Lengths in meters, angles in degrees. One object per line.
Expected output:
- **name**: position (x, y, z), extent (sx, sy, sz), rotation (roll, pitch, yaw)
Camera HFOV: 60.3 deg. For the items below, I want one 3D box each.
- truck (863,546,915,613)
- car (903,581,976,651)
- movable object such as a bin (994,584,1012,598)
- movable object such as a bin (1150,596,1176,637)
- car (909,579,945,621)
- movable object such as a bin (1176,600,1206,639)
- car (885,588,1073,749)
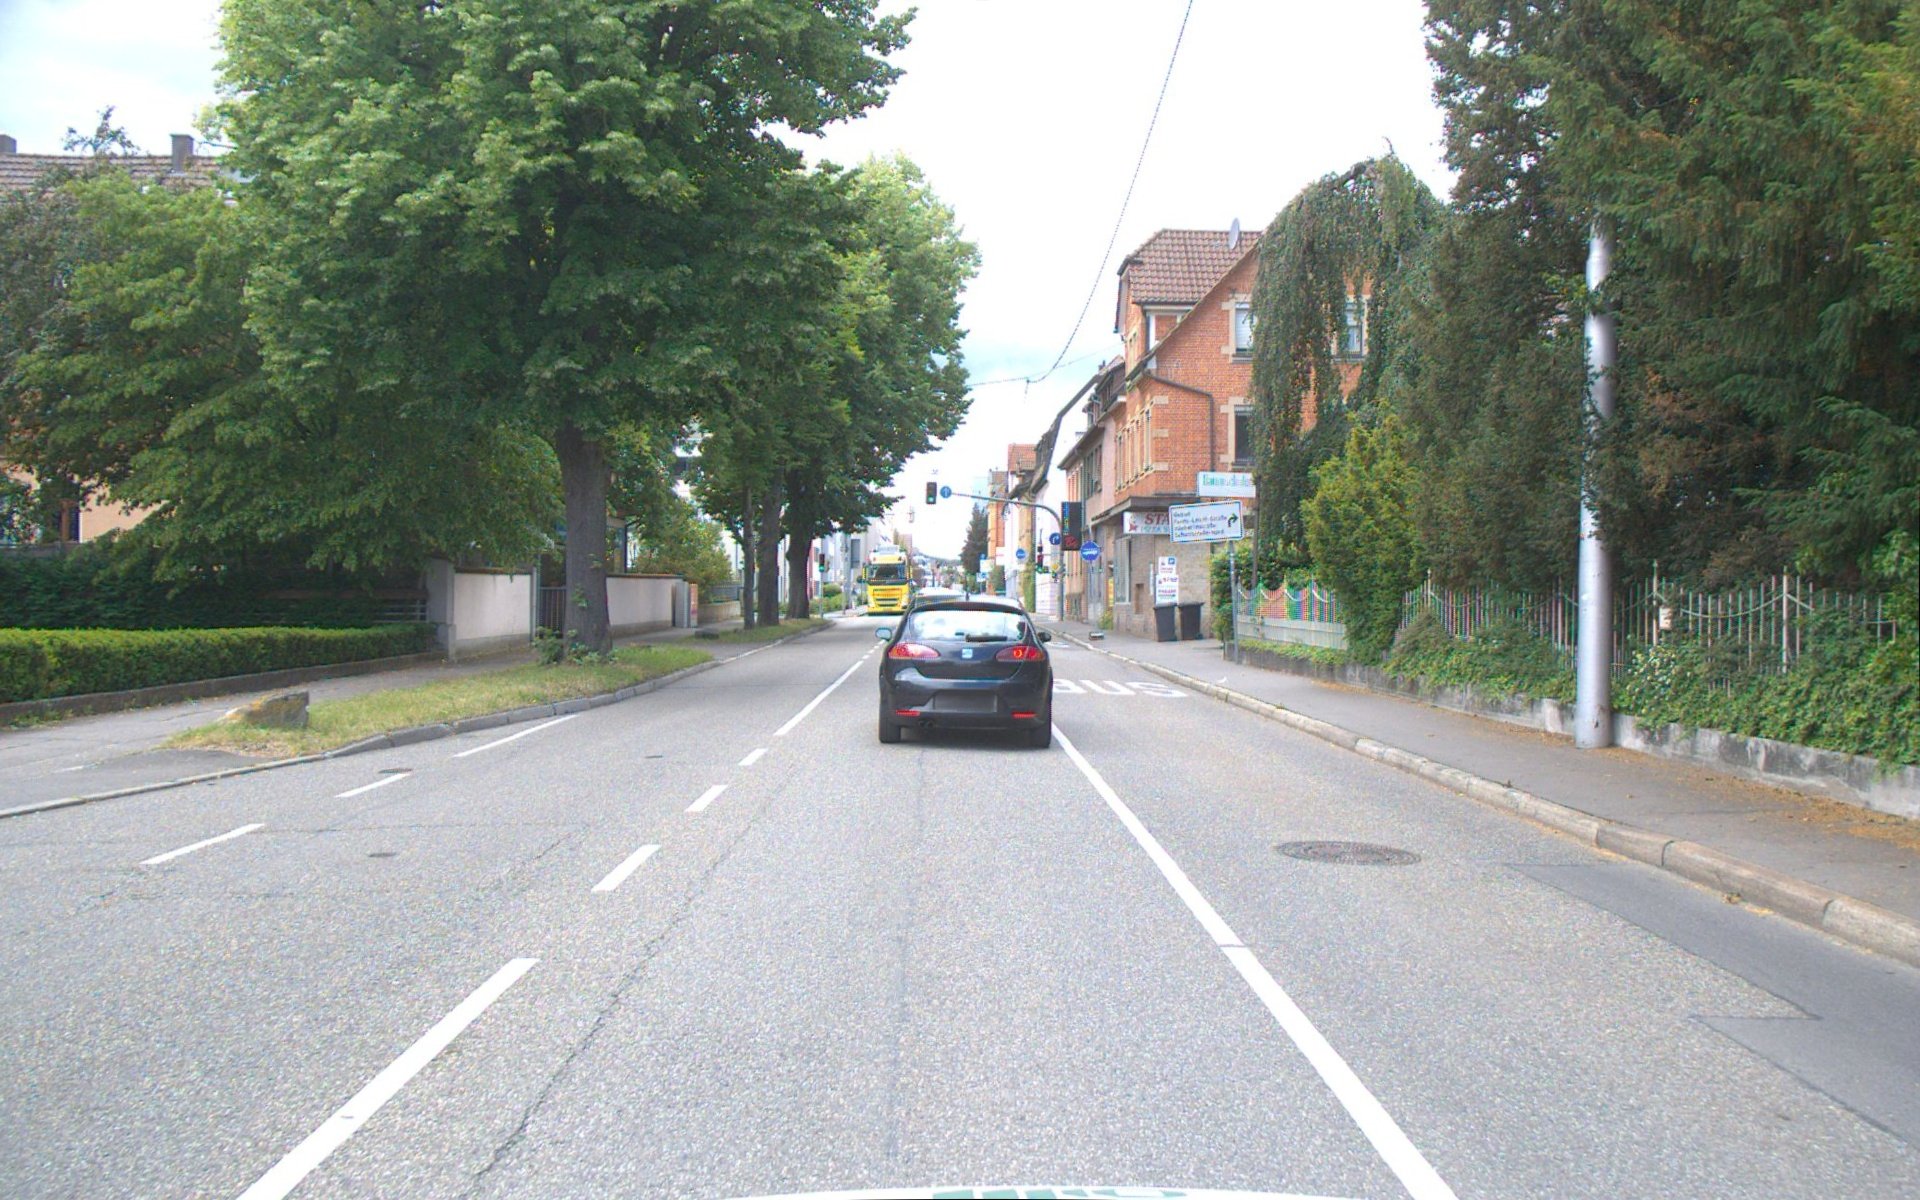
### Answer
- **truck**: position (-4.255, -1.192, 100.253), extent (2.785, 3.848, 7.668), rotation (1, 0, 0)
- **car**: position (-0.546, 0.404, 43.581), extent (1.805, 1.723, 3.999), rotation (1, 0, -1)
- **movable object such as a bin**: position (4.533, -0.918, 174.641), extent (1.780, 1.462, 1.993), rotation (1, 0, 0)
- **movable object such as a bin**: position (5.712, 0.458, 46.572), extent (0.594, 1.120, 0.622), rotation (-2, 0, -1)
- **car**: position (-1.397, 0.003, 70.437), extent (1.500, 1.723, 3.692), rotation (1, 0, -1)
- **movable object such as a bin**: position (6.508, 0.539, 46.644), extent (0.684, 1.077, 0.723), rotation (-2, 0, -1)
- **car**: position (0.148, 0.635, 17.325), extent (1.723, 1.467, 3.999), rotation (1, 0, -1)
